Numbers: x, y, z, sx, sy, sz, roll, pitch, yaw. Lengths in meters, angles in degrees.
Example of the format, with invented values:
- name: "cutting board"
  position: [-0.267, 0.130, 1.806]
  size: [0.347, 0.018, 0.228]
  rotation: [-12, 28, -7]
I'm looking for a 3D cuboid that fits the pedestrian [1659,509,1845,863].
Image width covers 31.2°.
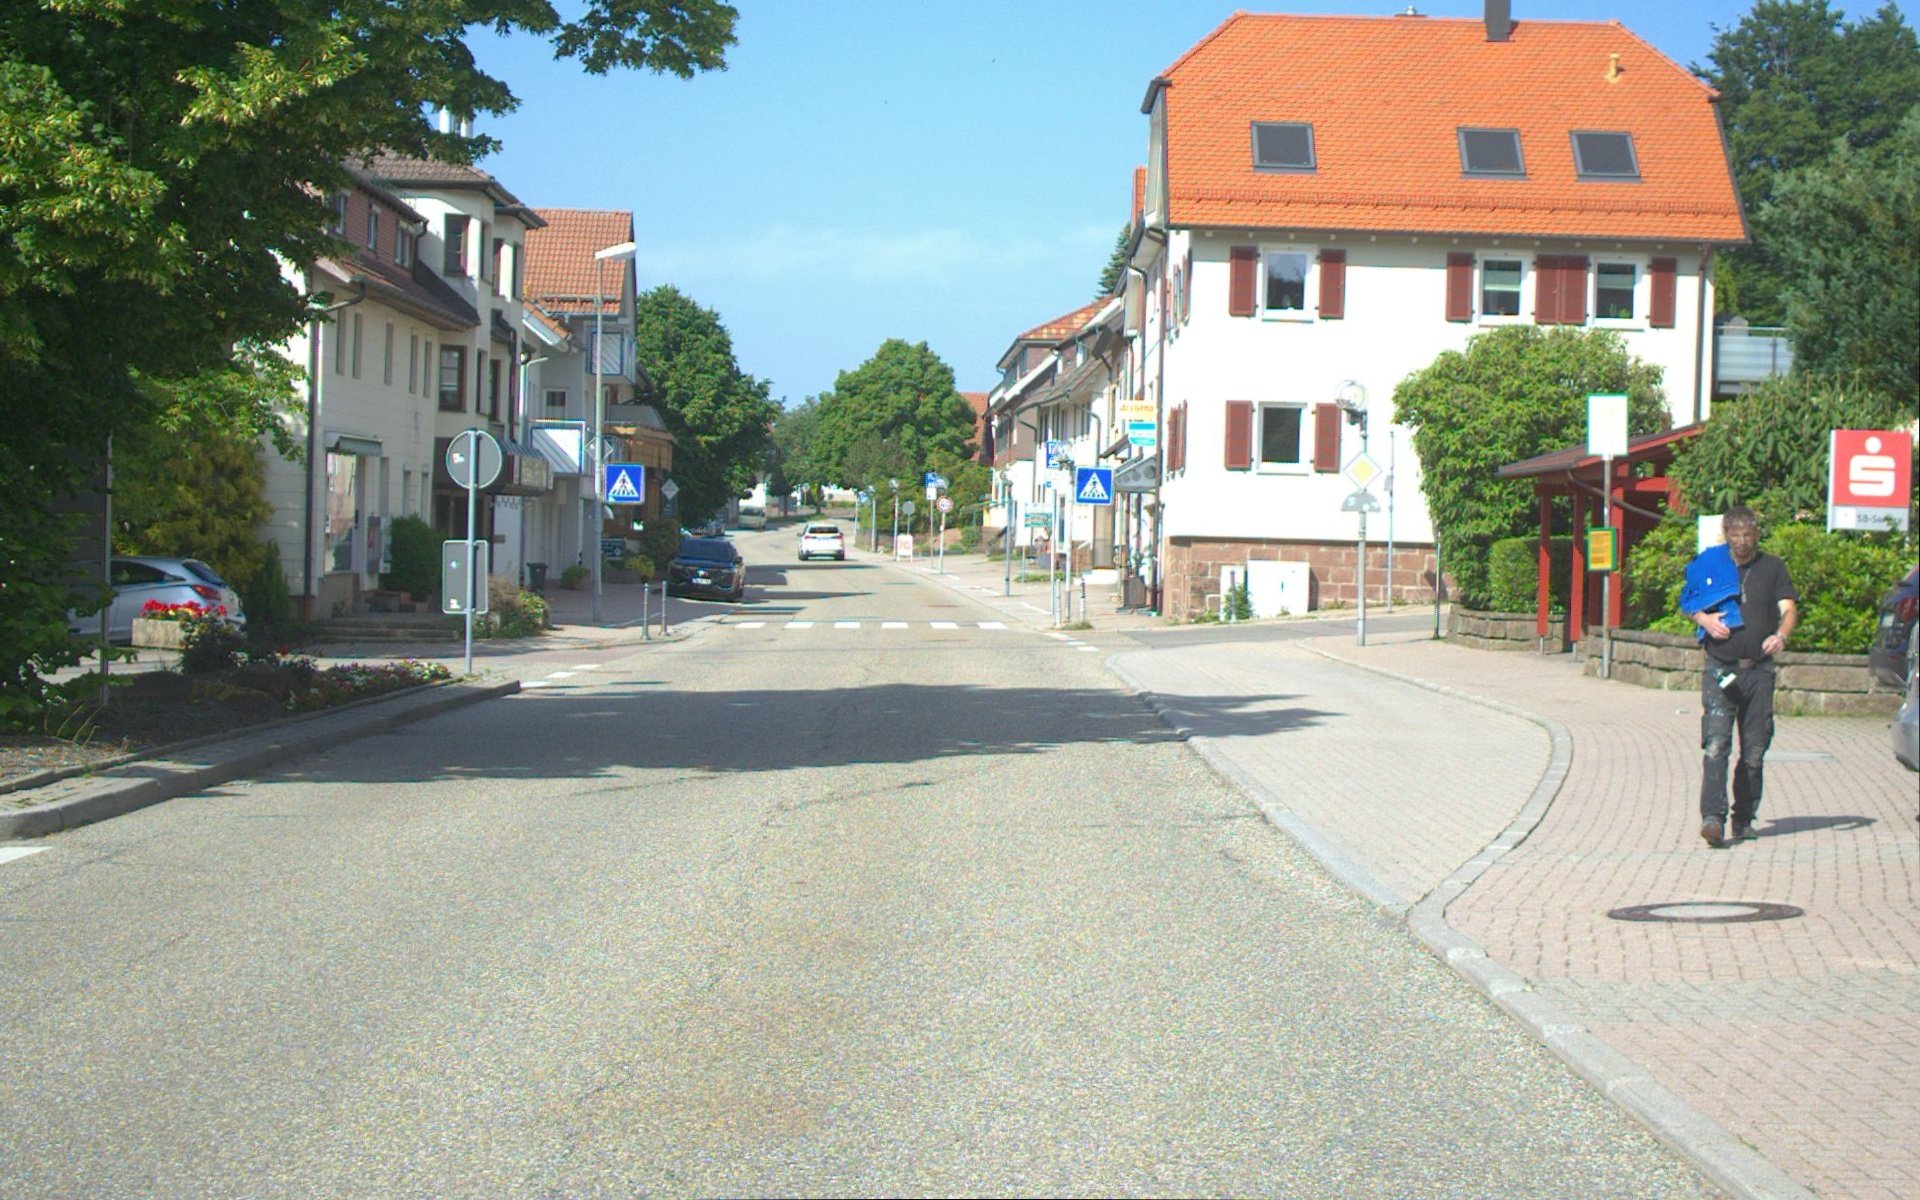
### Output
- name: "pedestrian"
  position: [4.088, 0.426, 17.801]
  size: [0.799, 1.778, 0.979]
  rotation: [0, 1, 5]

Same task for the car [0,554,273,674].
- name: "car"
  position: [-11.671, 0.215, 47.748]
  size: [3.761, 1.450, 1.816]
  rotation: [-1, -5, 12]

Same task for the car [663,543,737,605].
- name: "car"
  position: [-7.041, -0.715, 93.355]
  size: [1.672, 1.528, 3.535]
  rotation: [5, 1, -1]

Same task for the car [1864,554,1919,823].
- name: "car"
  position: [7.525, 0.565, 20.444]
  size: [3.989, 1.544, 1.737]
  rotation: [2, 1, 11]

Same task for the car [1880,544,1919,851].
- name: "car"
  position: [6.864, 0.500, 18.005]
  size: [3.864, 1.553, 1.962]
  rotation: [1, 1, 13]

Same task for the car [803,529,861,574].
- name: "car"
  position: [-6.007, -2.261, 160.729]
  size: [2.495, 2.007, 4.305]
  rotation: [-2, 1, -4]

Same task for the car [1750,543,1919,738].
- name: "car"
  position: [8.683, 0.304, 28.252]
  size: [3.987, 1.543, 1.881]
  rotation: [0, 1, 3]
